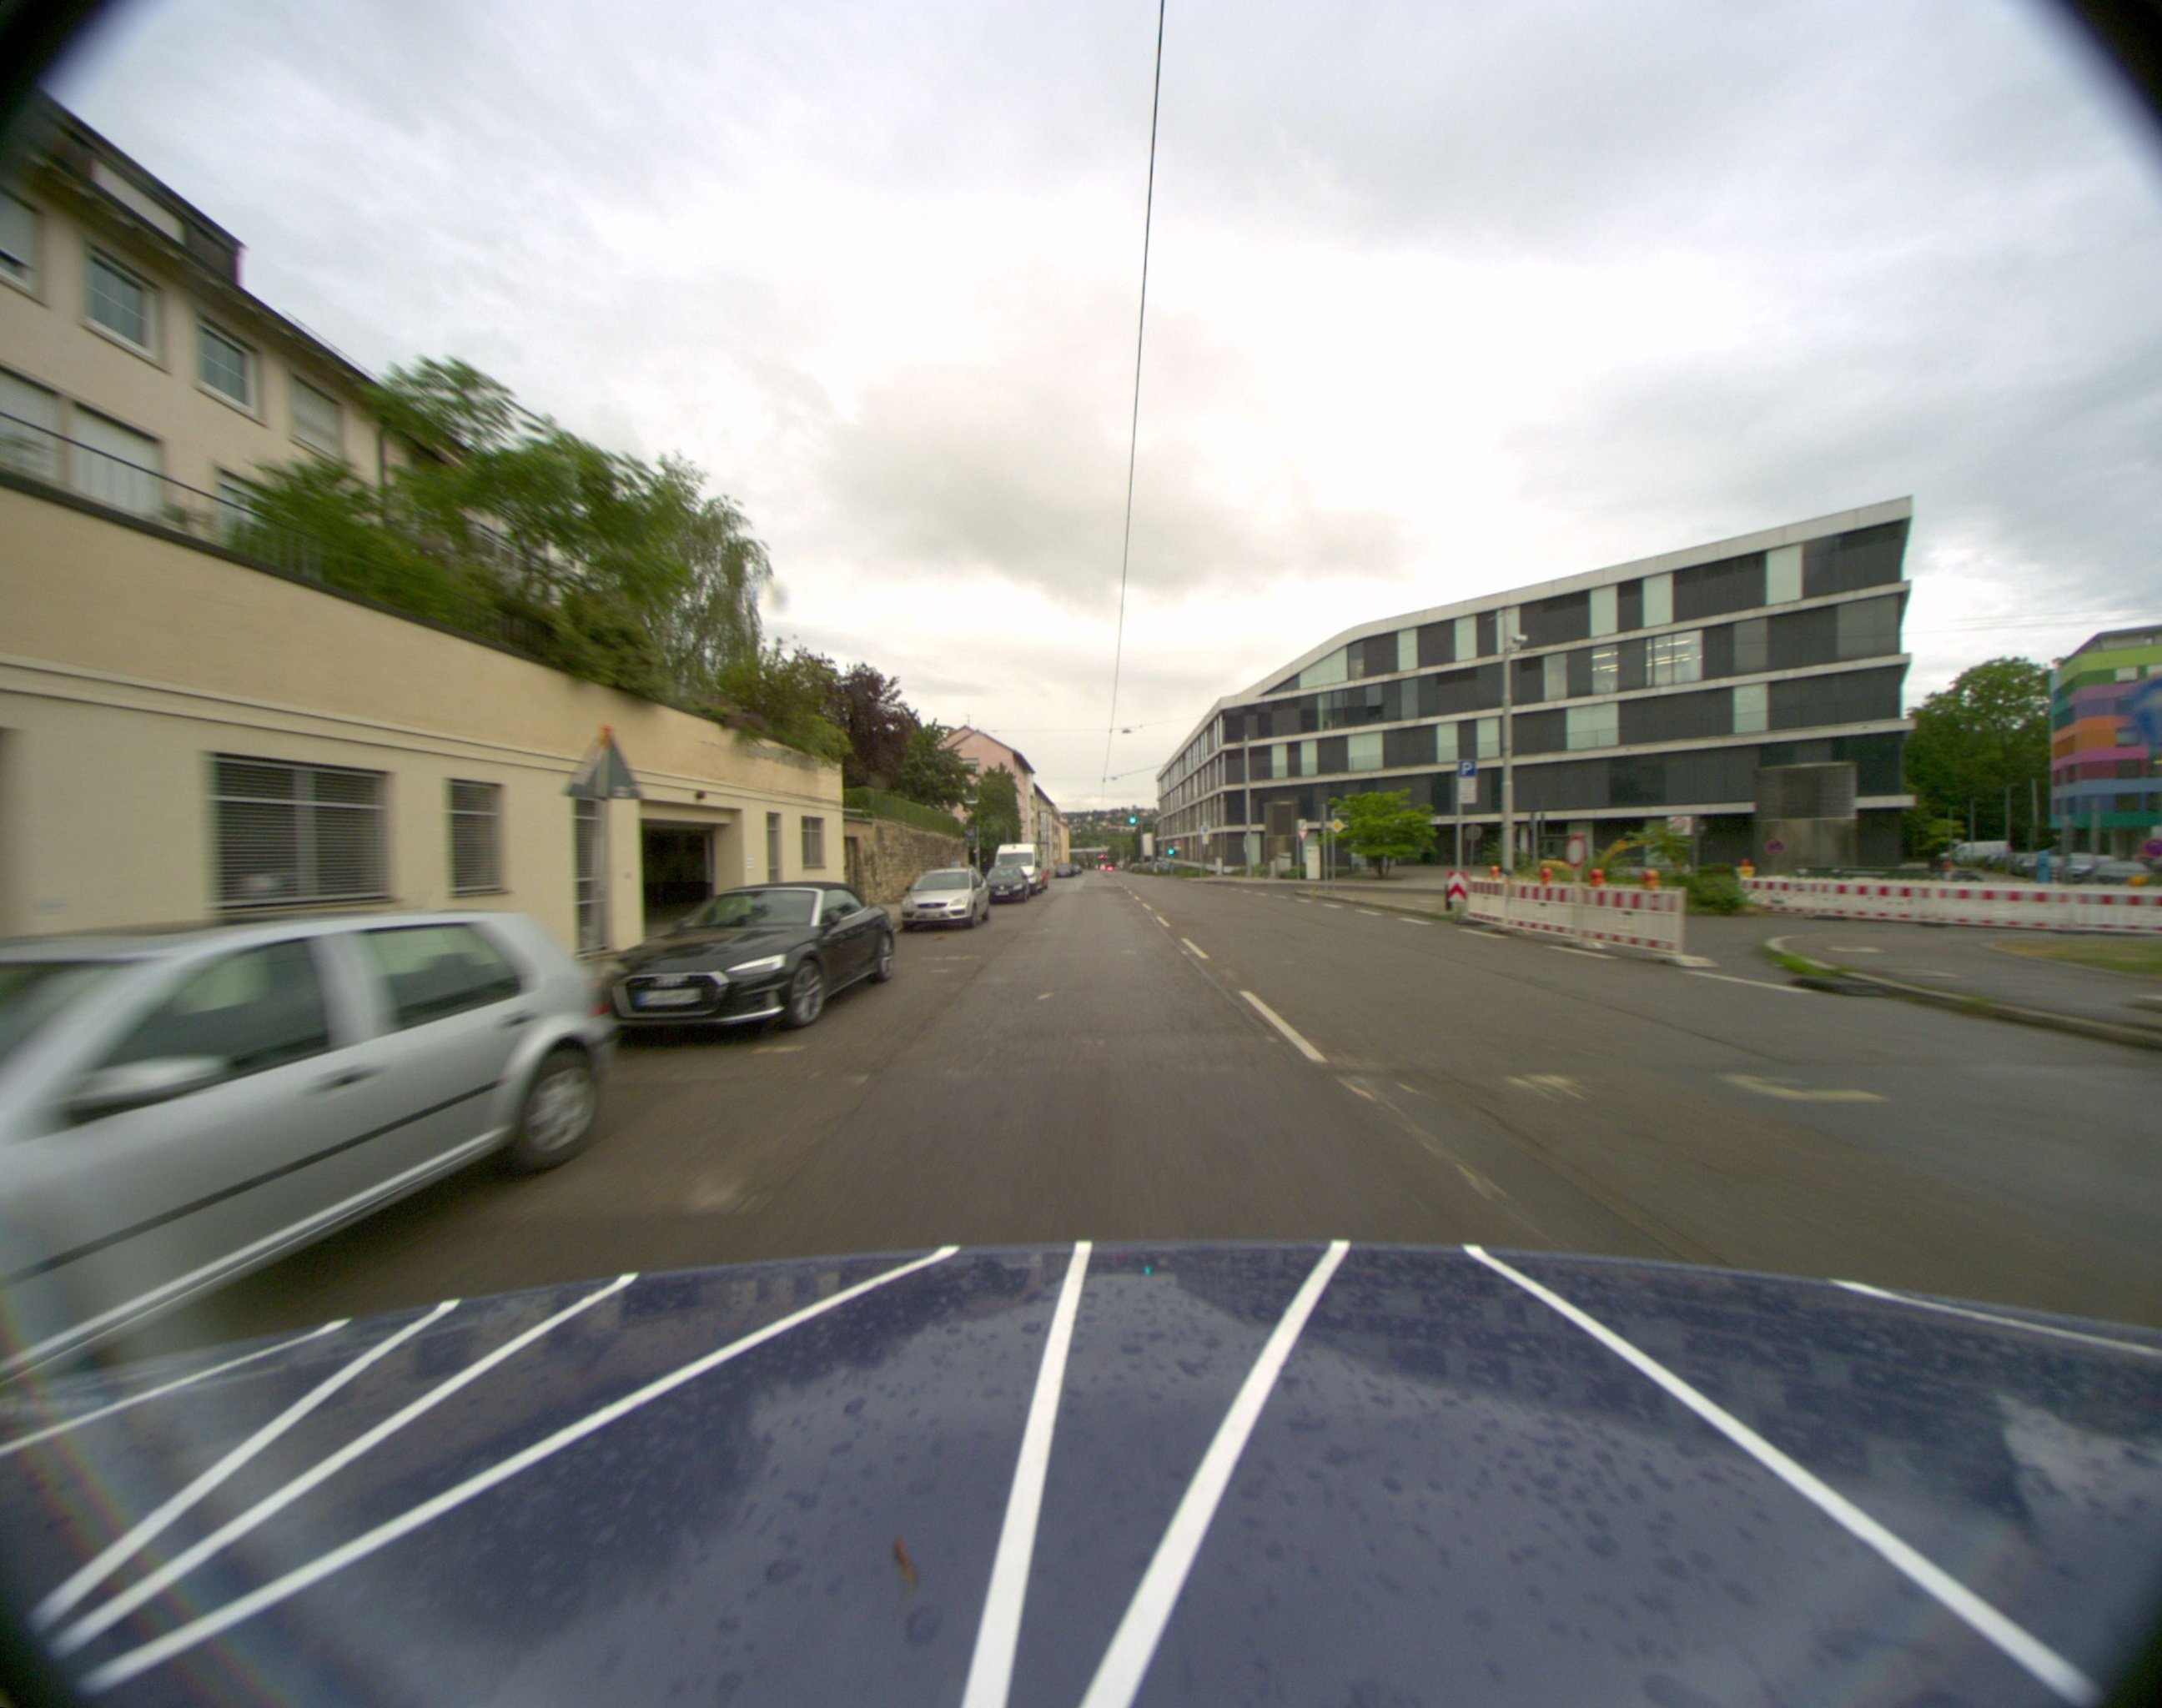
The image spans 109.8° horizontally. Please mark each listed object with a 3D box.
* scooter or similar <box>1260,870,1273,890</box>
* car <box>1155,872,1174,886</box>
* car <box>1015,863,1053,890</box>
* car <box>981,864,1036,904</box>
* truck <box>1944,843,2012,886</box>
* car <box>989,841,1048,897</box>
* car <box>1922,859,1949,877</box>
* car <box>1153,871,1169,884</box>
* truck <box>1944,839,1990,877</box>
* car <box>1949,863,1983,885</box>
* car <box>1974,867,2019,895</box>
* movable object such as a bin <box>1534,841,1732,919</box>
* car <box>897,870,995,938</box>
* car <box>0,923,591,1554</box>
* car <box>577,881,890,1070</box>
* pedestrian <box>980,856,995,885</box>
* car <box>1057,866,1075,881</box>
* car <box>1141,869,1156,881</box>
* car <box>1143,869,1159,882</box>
[{"bbox_3d":[12.036,1.703,49.300,0.497,1.241,1.232,-2,0,2],"label":"scooter or similar"},{"bbox_3d":[9.411,2.795,85.663,1.641,1.458,3.584,-1,-1,0],"label":"car"},{"bbox_3d":[-2.713,1.303,44.484,1.725,1.412,4.204,-3,-1,2],"label":"car"},{"bbox_3d":[-2.870,1.157,30.860,1.693,1.445,4.236,-3,-1,1],"label":"car"},{"bbox_3d":[119.744,1.503,101.666,13.935,5.366,4.809,2,-2,-45],"label":"truck"},{"bbox_3d":[-2.996,0.731,37.886,2.211,2.448,6.081,-3,-1,1],"label":"car"},{"bbox_3d":[95.978,1.630,85.368,4.009,2.001,1.795,2,-2,-45],"label":"car"},{"bbox_3d":[9.519,2.826,90.469,1.641,1.458,3.585,-1,-1,2],"label":"car"},{"bbox_3d":[105.101,0.591,90.239,8.018,4.336,2.991,2,-2,-45],"label":"truck"},{"bbox_3d":[82.600,1.829,70.965,4.009,2.001,1.795,2,-2,-45],"label":"car"},{"bbox_3d":[69.525,2.025,57.740,4.009,2.001,1.795,2,-2,-45],"label":"car"},{"bbox_3d":[18.957,0.856,26.374,1.674,2.445,5.275,-1,0,-38],"label":"movable object such as a bin"},{"bbox_3d":[-3.357,1.199,19.672,1.693,1.445,4.236,-3,-1,1],"label":"car"},{"bbox_3d":[-3.628,1.126,2.406,1.633,1.445,3.760,-3,-1,1],"label":"car"},{"bbox_3d":[-3.440,1.107,8.369,1.633,1.445,3.760,-3,-1,1],"label":"car"},{"bbox_3d":[-5.548,0.999,45.059,0.725,1.705,0.905,0,0,2],"label":"pedestrian"},{"bbox_3d":[-1.683,2.182,86.499,1.796,1.510,4.513,-4,-1,1],"label":"car"},{"bbox_3d":[9.547,2.948,107.850,1.834,1.579,4.364,-3,-1,1],"label":"car"},{"bbox_3d":[9.314,2.905,101.258,1.886,1.579,4.364,-3,-1,3],"label":"car"}]
